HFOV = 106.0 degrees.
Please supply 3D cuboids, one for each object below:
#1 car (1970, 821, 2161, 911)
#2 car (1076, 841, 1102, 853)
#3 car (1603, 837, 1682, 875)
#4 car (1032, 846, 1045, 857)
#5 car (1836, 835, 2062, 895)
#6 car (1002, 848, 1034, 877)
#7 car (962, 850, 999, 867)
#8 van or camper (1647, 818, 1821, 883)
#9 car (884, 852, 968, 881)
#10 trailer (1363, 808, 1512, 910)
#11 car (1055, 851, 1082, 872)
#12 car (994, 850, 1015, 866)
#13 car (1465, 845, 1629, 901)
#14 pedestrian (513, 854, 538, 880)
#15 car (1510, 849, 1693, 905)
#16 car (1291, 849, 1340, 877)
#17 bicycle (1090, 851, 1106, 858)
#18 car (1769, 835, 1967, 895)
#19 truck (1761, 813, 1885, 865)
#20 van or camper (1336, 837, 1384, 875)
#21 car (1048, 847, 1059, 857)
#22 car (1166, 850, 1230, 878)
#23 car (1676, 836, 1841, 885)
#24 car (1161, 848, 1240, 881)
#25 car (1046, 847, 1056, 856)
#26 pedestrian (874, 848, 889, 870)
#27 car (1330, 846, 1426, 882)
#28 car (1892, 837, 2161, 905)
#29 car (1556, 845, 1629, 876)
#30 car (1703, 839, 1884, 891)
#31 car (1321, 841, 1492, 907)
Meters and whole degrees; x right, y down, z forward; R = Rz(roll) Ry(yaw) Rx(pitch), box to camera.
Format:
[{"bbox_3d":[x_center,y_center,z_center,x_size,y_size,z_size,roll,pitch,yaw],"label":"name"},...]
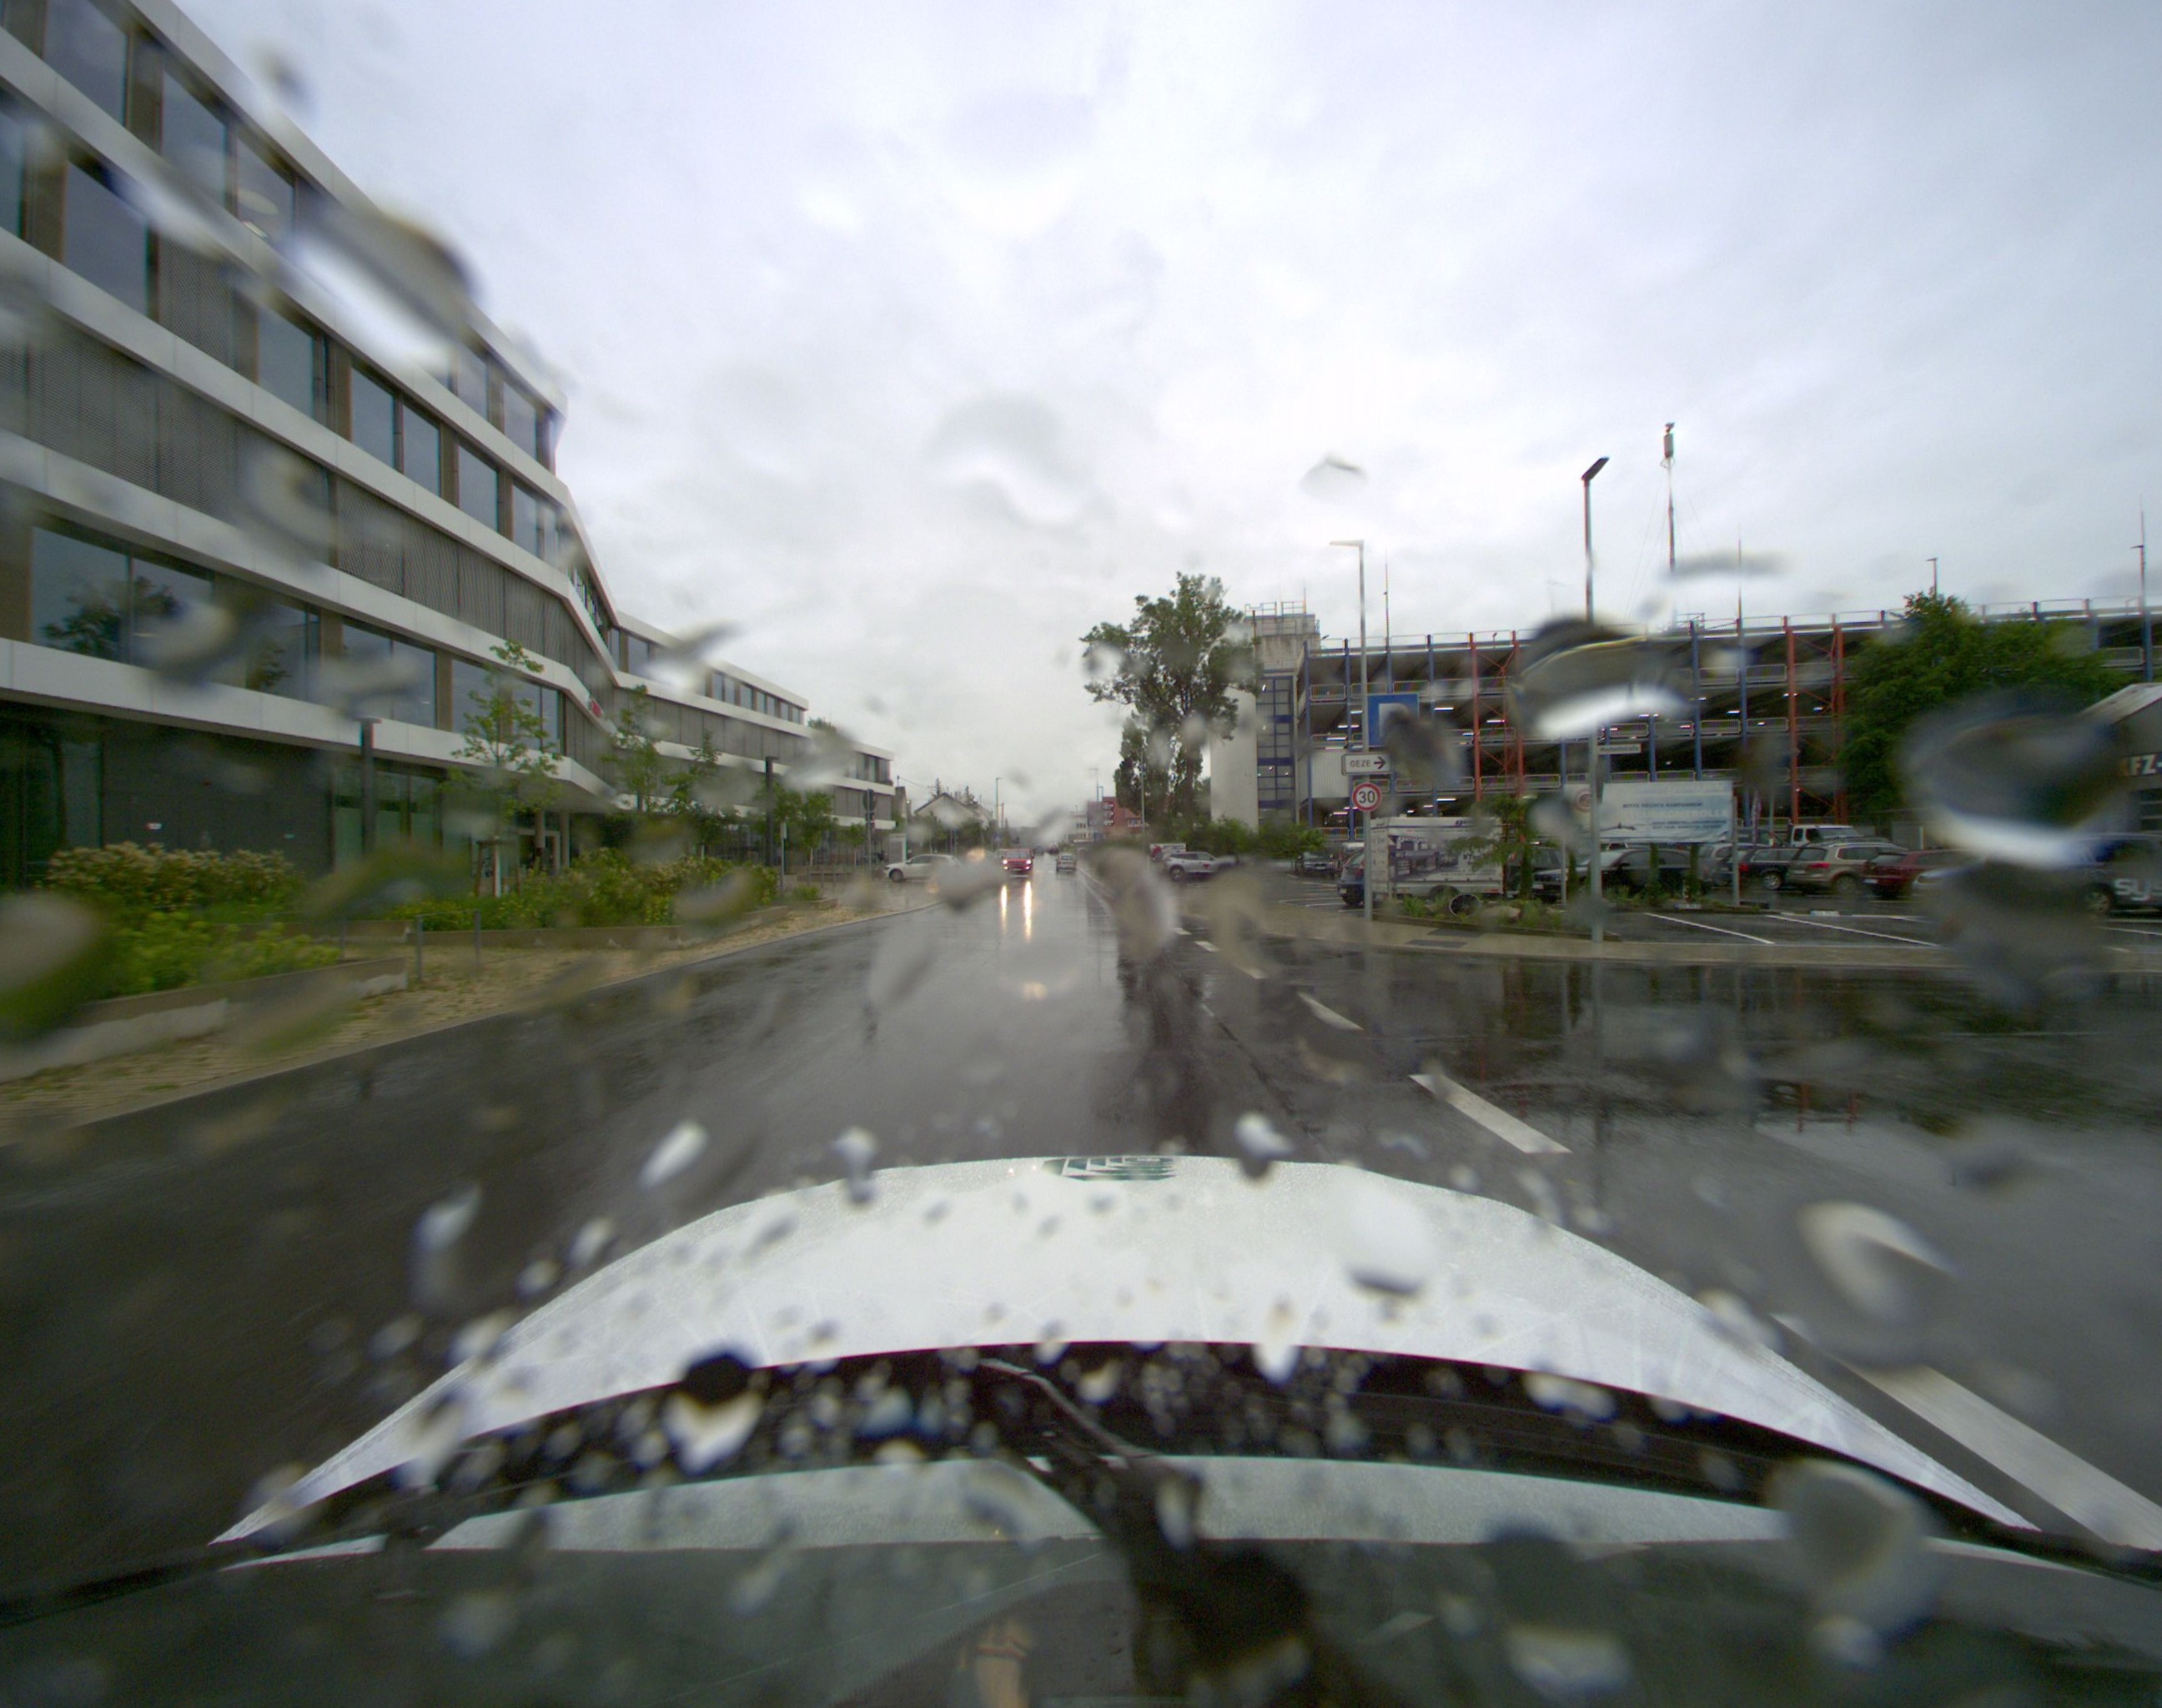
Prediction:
[{"bbox_3d":[22.839,0.220,17.692,4.444,1.828,1.900,-2,0,13],"label":"car"},{"bbox_3d":[1.364,-1.105,136.460,4.106,1.706,1.785,3,-2,-6],"label":"car"},{"bbox_3d":[29.722,0.165,43.240,1.881,1.814,4.009,3,-2,9],"label":"car"},{"bbox_3d":[-7.652,-0.452,146.158,2.149,1.706,3.996,3,-2,-2],"label":"car"},{"bbox_3d":[24.187,0.304,22.848,4.105,1.497,1.868,-2,0,6],"label":"car"},{"bbox_3d":[-4.143,0.563,54.619,1.998,1.818,4.973,-1,0,-3],"label":"car"},{"bbox_3d":[-13.423,0.579,108.666,4.745,2.014,1.996,3,-2,-5],"label":"car"},{"bbox_3d":[25.639,-0.122,32.164,4.931,2.326,2.226,-2,0,5],"label":"van or camper"},{"bbox_3d":[-7.815,0.632,41.360,3.917,1.423,1.897,-1,0,-2],"label":"car"},{"bbox_3d":[7.981,0.109,18.400,2.693,2.171,1.548,-1,0,-1],"label":"trailer"},{"bbox_3d":[-1.108,0.671,69.043,1.945,1.556,3.993,3,-2,-5],"label":"car"},{"bbox_3d":[-8.077,0.391,86.402,1.989,1.629,4.150,-1,1,-2],"label":"car"},{"bbox_3d":[13.147,0.517,23.089,3.720,1.449,1.727,-1,0,-6],"label":"car"},{"bbox_3d":[-29.520,0.674,43.294,0.901,1.314,1.051,4,-2,-29],"label":"pedestrian"},{"bbox_3d":[13.228,0.559,20.816,3.720,1.315,1.689,-1,0,-6],"label":"car"},{"bbox_3d":[13.002,0.473,45.391,1.923,1.442,4.214,-1,0,6],"label":"car"},{"bbox_3d":[2.695,0.017,129.892,0.673,1.067,3.591,4,-2,-34],"label":"bicycle"},{"bbox_3d":[24.136,0.337,25.126,4.105,1.667,1.868,-2,0,6],"label":"car"},{"bbox_3d":[37.476,-0.703,41.360,1.983,2.269,5.317,3,-2,8],"label":"truck"},{"bbox_3d":[15.520,0.107,45.474,1.827,2.036,4.473,-1,0,9],"label":"van or camper"},{"bbox_3d":[-5.138,-0.340,151.927,1.989,1.706,3.996,3,-2,-2],"label":"car"},{"bbox_3d":[6.827,0.589,47.595,3.602,1.494,1.810,-2,0,6],"label":"car"},{"bbox_3d":[24.694,0.233,29.836,4.332,1.583,1.868,-2,0,6],"label":"car"},{"bbox_3d":[6.570,0.564,44.933,4.184,1.650,2.004,-2,0,7],"label":"car"},{"bbox_3d":[-6.067,-0.497,164.976,1.989,1.706,3.996,3,-2,-2],"label":"car"},{"bbox_3d":[-15.628,0.376,63.836,1.011,1.724,0.771,0,0,-5],"label":"pedestrian"},{"bbox_3d":[13.041,0.432,35.876,3.677,1.500,1.641,0,0,-2],"label":"car"},{"bbox_3d":[23.296,0.418,20.236,4.099,1.497,1.871,-2,0,12],"label":"car"},{"bbox_3d":[27.299,0.385,43.625,1.881,1.486,4.009,3,-2,9],"label":"car"},{"bbox_3d":[24.170,0.375,27.771,4.332,1.583,1.868,-2,0,6],"label":"car"},{"bbox_3d":[8.346,0.510,21.067,3.717,1.529,1.648,-2,-1,-3],"label":"car"}]
